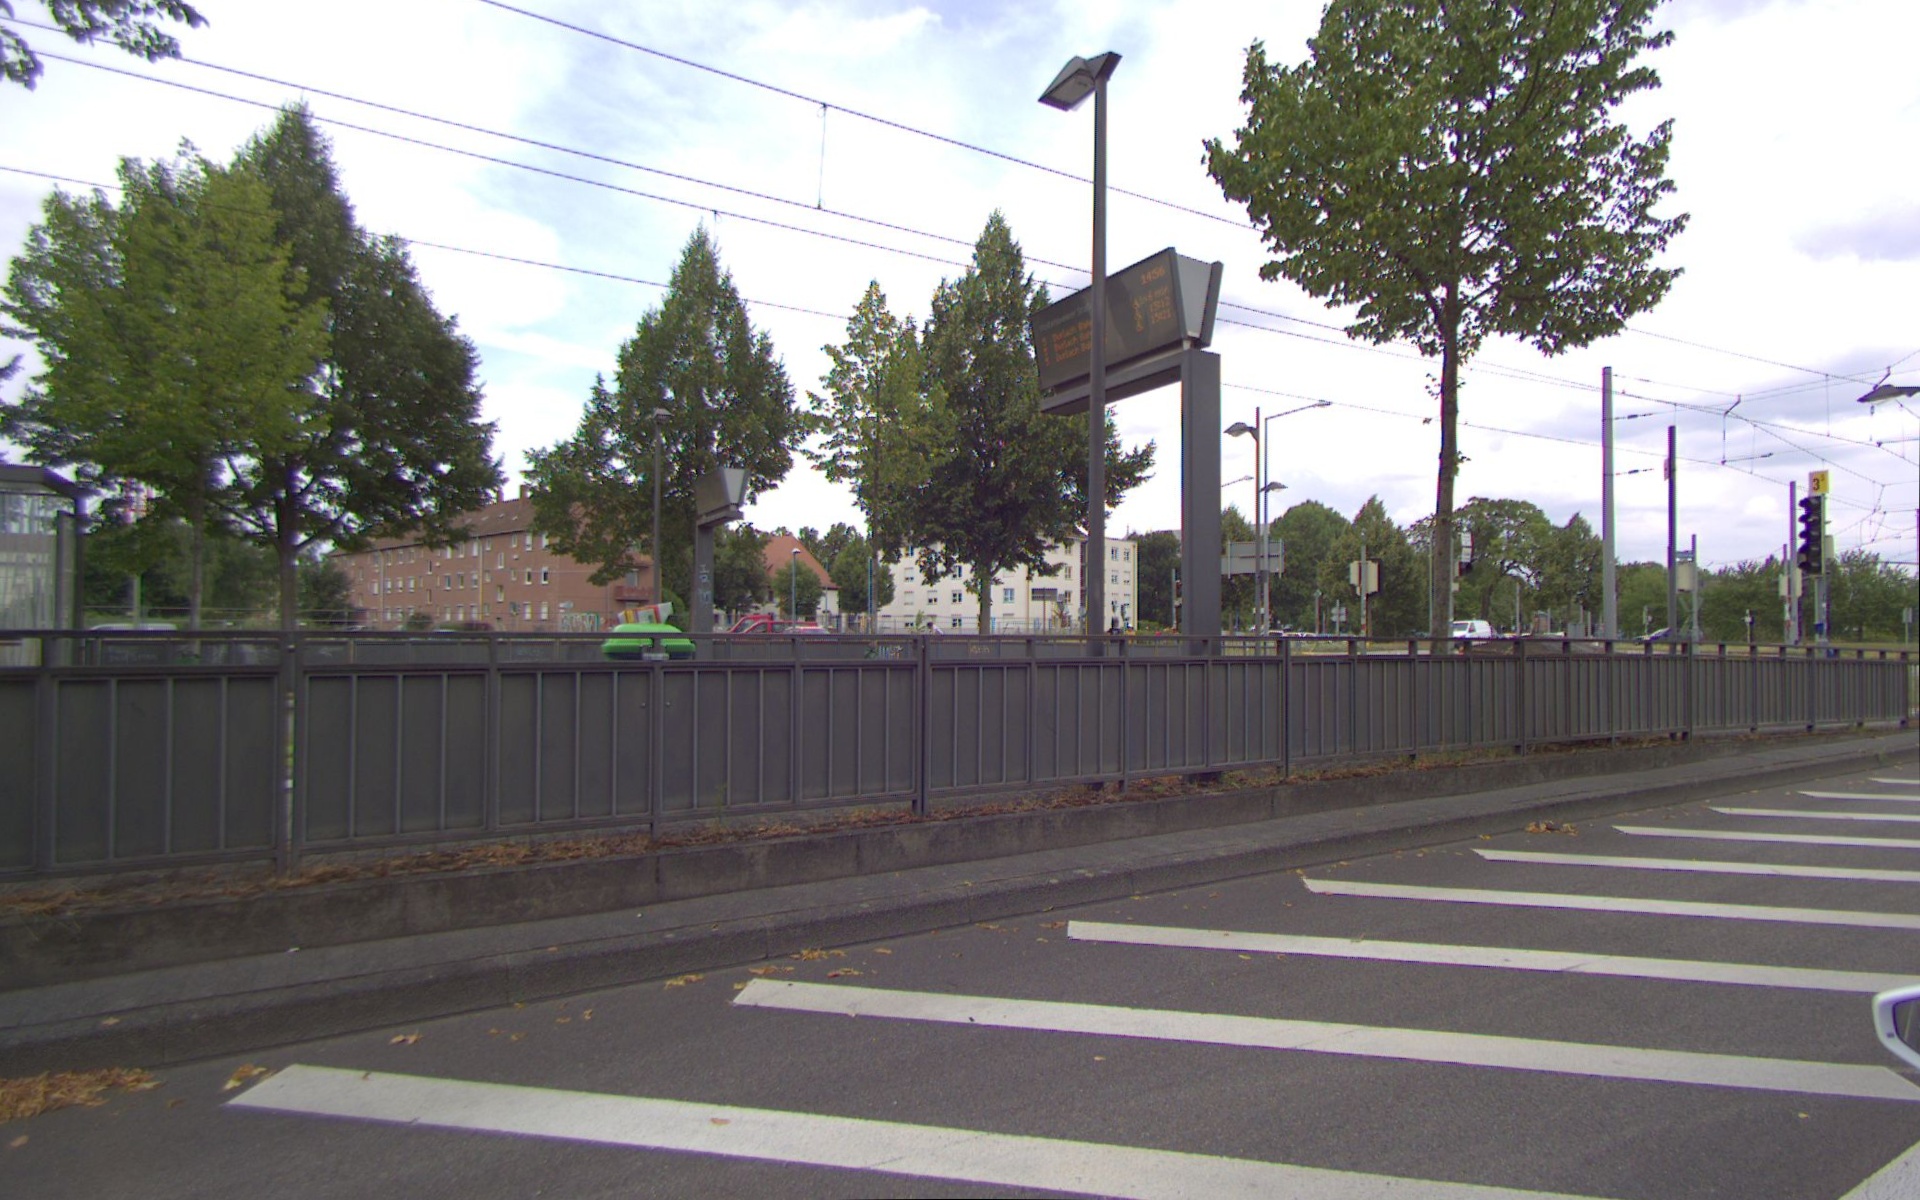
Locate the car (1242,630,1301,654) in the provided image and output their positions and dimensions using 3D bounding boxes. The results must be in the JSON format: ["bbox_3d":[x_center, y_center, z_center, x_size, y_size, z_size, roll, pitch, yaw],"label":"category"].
[{"bbox_3d":[24.004,3.211,77.463,3.920,1.663,2.000,2,1,2],"label":"car"}]

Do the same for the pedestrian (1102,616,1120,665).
[{"bbox_3d":[5.872,1.573,38.995,0.636,1.874,0.492,0,-1,19],"label":"pedestrian"}]

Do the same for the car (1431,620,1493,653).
[{"bbox_3d":[32.151,2.306,64.270,4.964,2.040,1.975,1,-1,-43],"label":"car"}]

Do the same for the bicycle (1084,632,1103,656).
[{"bbox_3d":[7.322,2.392,54.993,0.600,1.151,2.566,2,0,16],"label":"bicycle"}]

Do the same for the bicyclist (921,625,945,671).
[{"bbox_3d":[-1.113,1.972,41.360,0.771,1.859,0.828,0,-1,-19],"label":"bicyclist"}]

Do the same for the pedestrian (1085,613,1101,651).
[{"bbox_3d":[7.257,1.749,54.858,0.783,2.040,0.910,0,-1,16],"label":"pedestrian"}]
